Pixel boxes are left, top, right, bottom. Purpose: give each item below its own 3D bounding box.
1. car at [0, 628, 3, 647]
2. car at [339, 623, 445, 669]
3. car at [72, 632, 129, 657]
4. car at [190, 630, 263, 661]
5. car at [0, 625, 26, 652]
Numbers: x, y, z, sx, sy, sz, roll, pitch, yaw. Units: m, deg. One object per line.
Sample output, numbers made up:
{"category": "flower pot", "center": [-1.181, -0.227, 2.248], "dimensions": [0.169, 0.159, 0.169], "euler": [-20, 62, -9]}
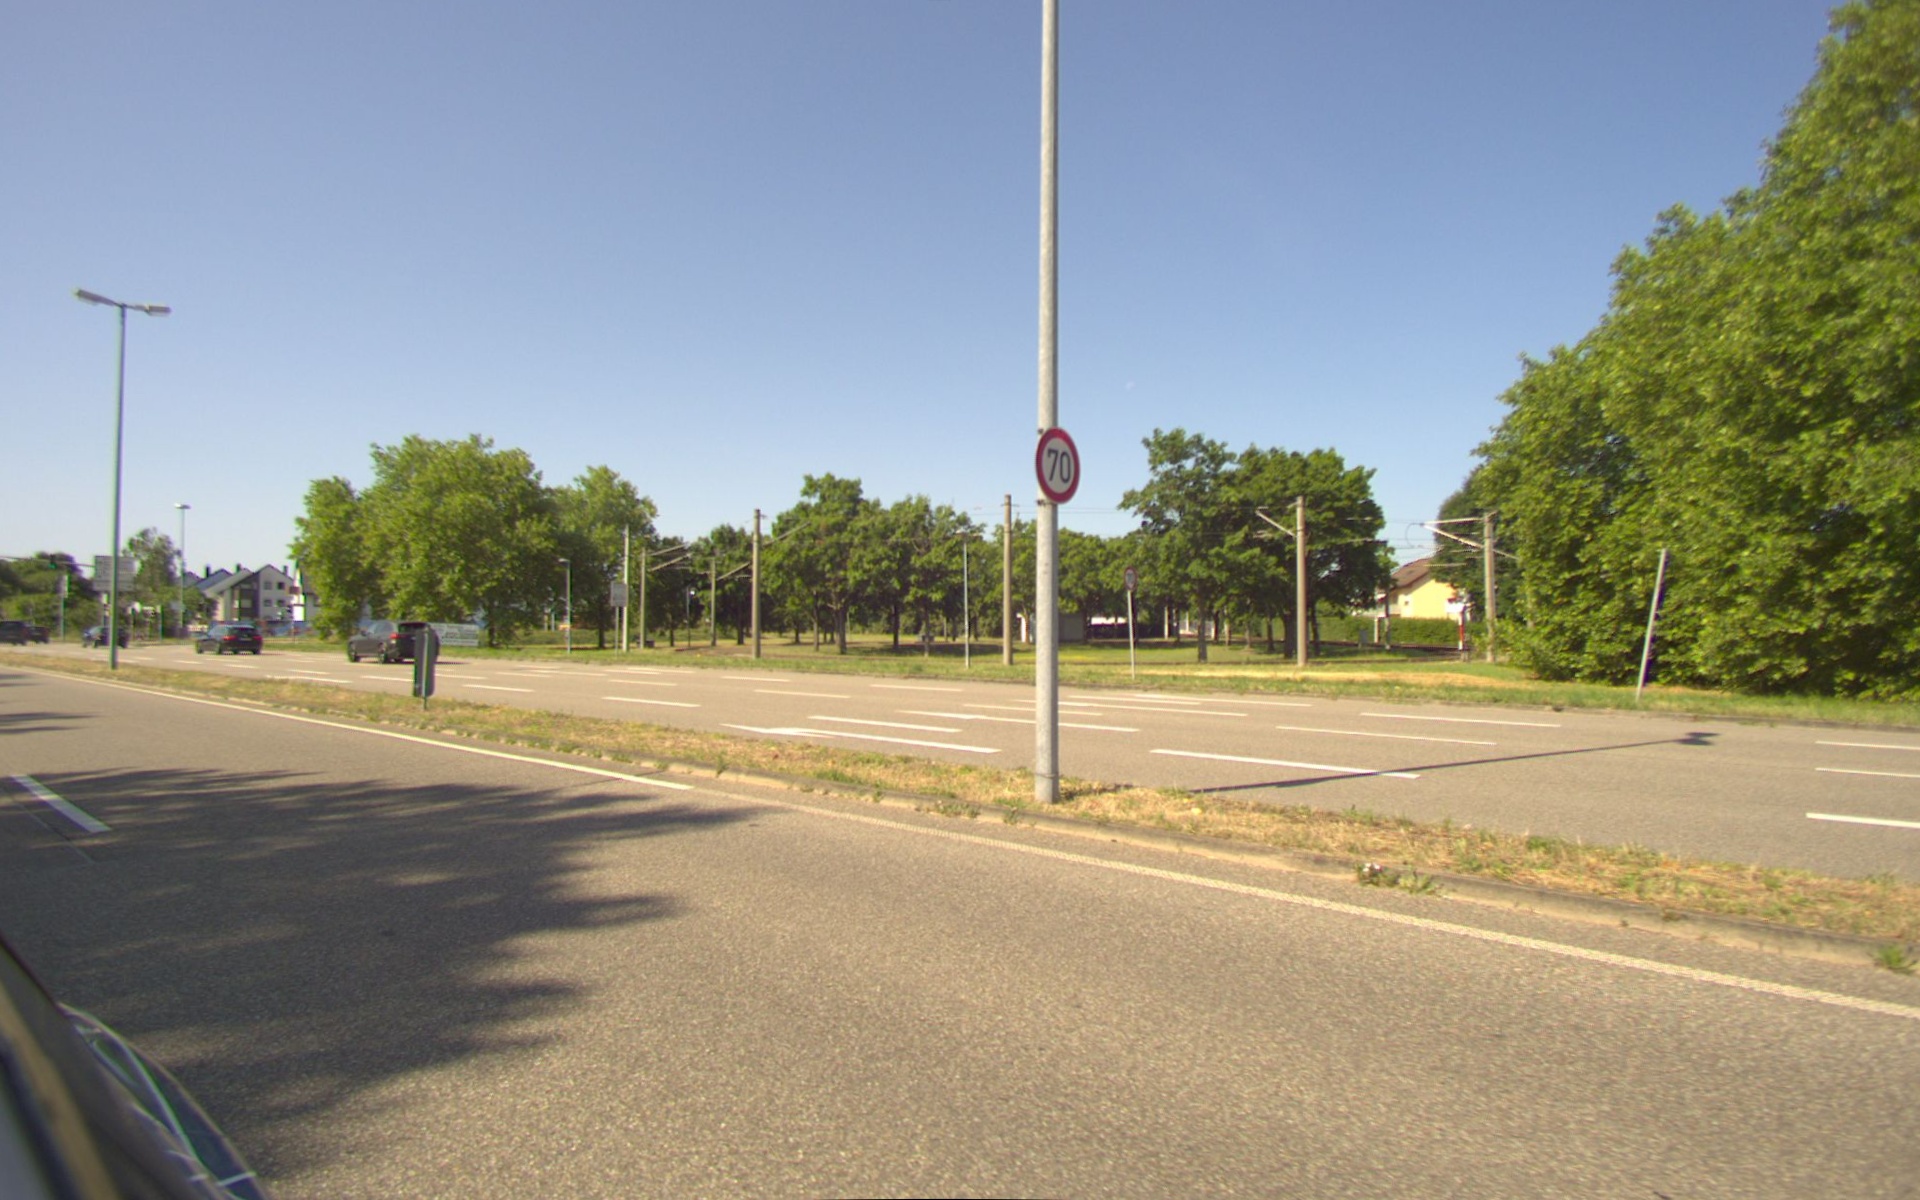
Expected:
{"category": "car", "center": [-88.659, 3.395, 91.709], "dimensions": [4.482, 1.635, 2.052], "euler": [-2, -2, 37]}
{"category": "car", "center": [-21.708, 1.726, 38.613], "dimensions": [4.549, 1.672, 1.963], "euler": [-1, -2, 39]}
{"category": "car", "center": [-54.920, 2.840, 64.656], "dimensions": [4.400, 1.557, 1.845], "euler": [-2, -4, 38]}
{"category": "car", "center": [-36.566, 2.222, 50.407], "dimensions": [4.463, 1.476, 1.813], "euler": [-1, -2, 38]}
{"category": "car", "center": [-65.418, 2.607, 68.898], "dimensions": [4.482, 1.793, 1.963], "euler": [-2, -2, 37]}
